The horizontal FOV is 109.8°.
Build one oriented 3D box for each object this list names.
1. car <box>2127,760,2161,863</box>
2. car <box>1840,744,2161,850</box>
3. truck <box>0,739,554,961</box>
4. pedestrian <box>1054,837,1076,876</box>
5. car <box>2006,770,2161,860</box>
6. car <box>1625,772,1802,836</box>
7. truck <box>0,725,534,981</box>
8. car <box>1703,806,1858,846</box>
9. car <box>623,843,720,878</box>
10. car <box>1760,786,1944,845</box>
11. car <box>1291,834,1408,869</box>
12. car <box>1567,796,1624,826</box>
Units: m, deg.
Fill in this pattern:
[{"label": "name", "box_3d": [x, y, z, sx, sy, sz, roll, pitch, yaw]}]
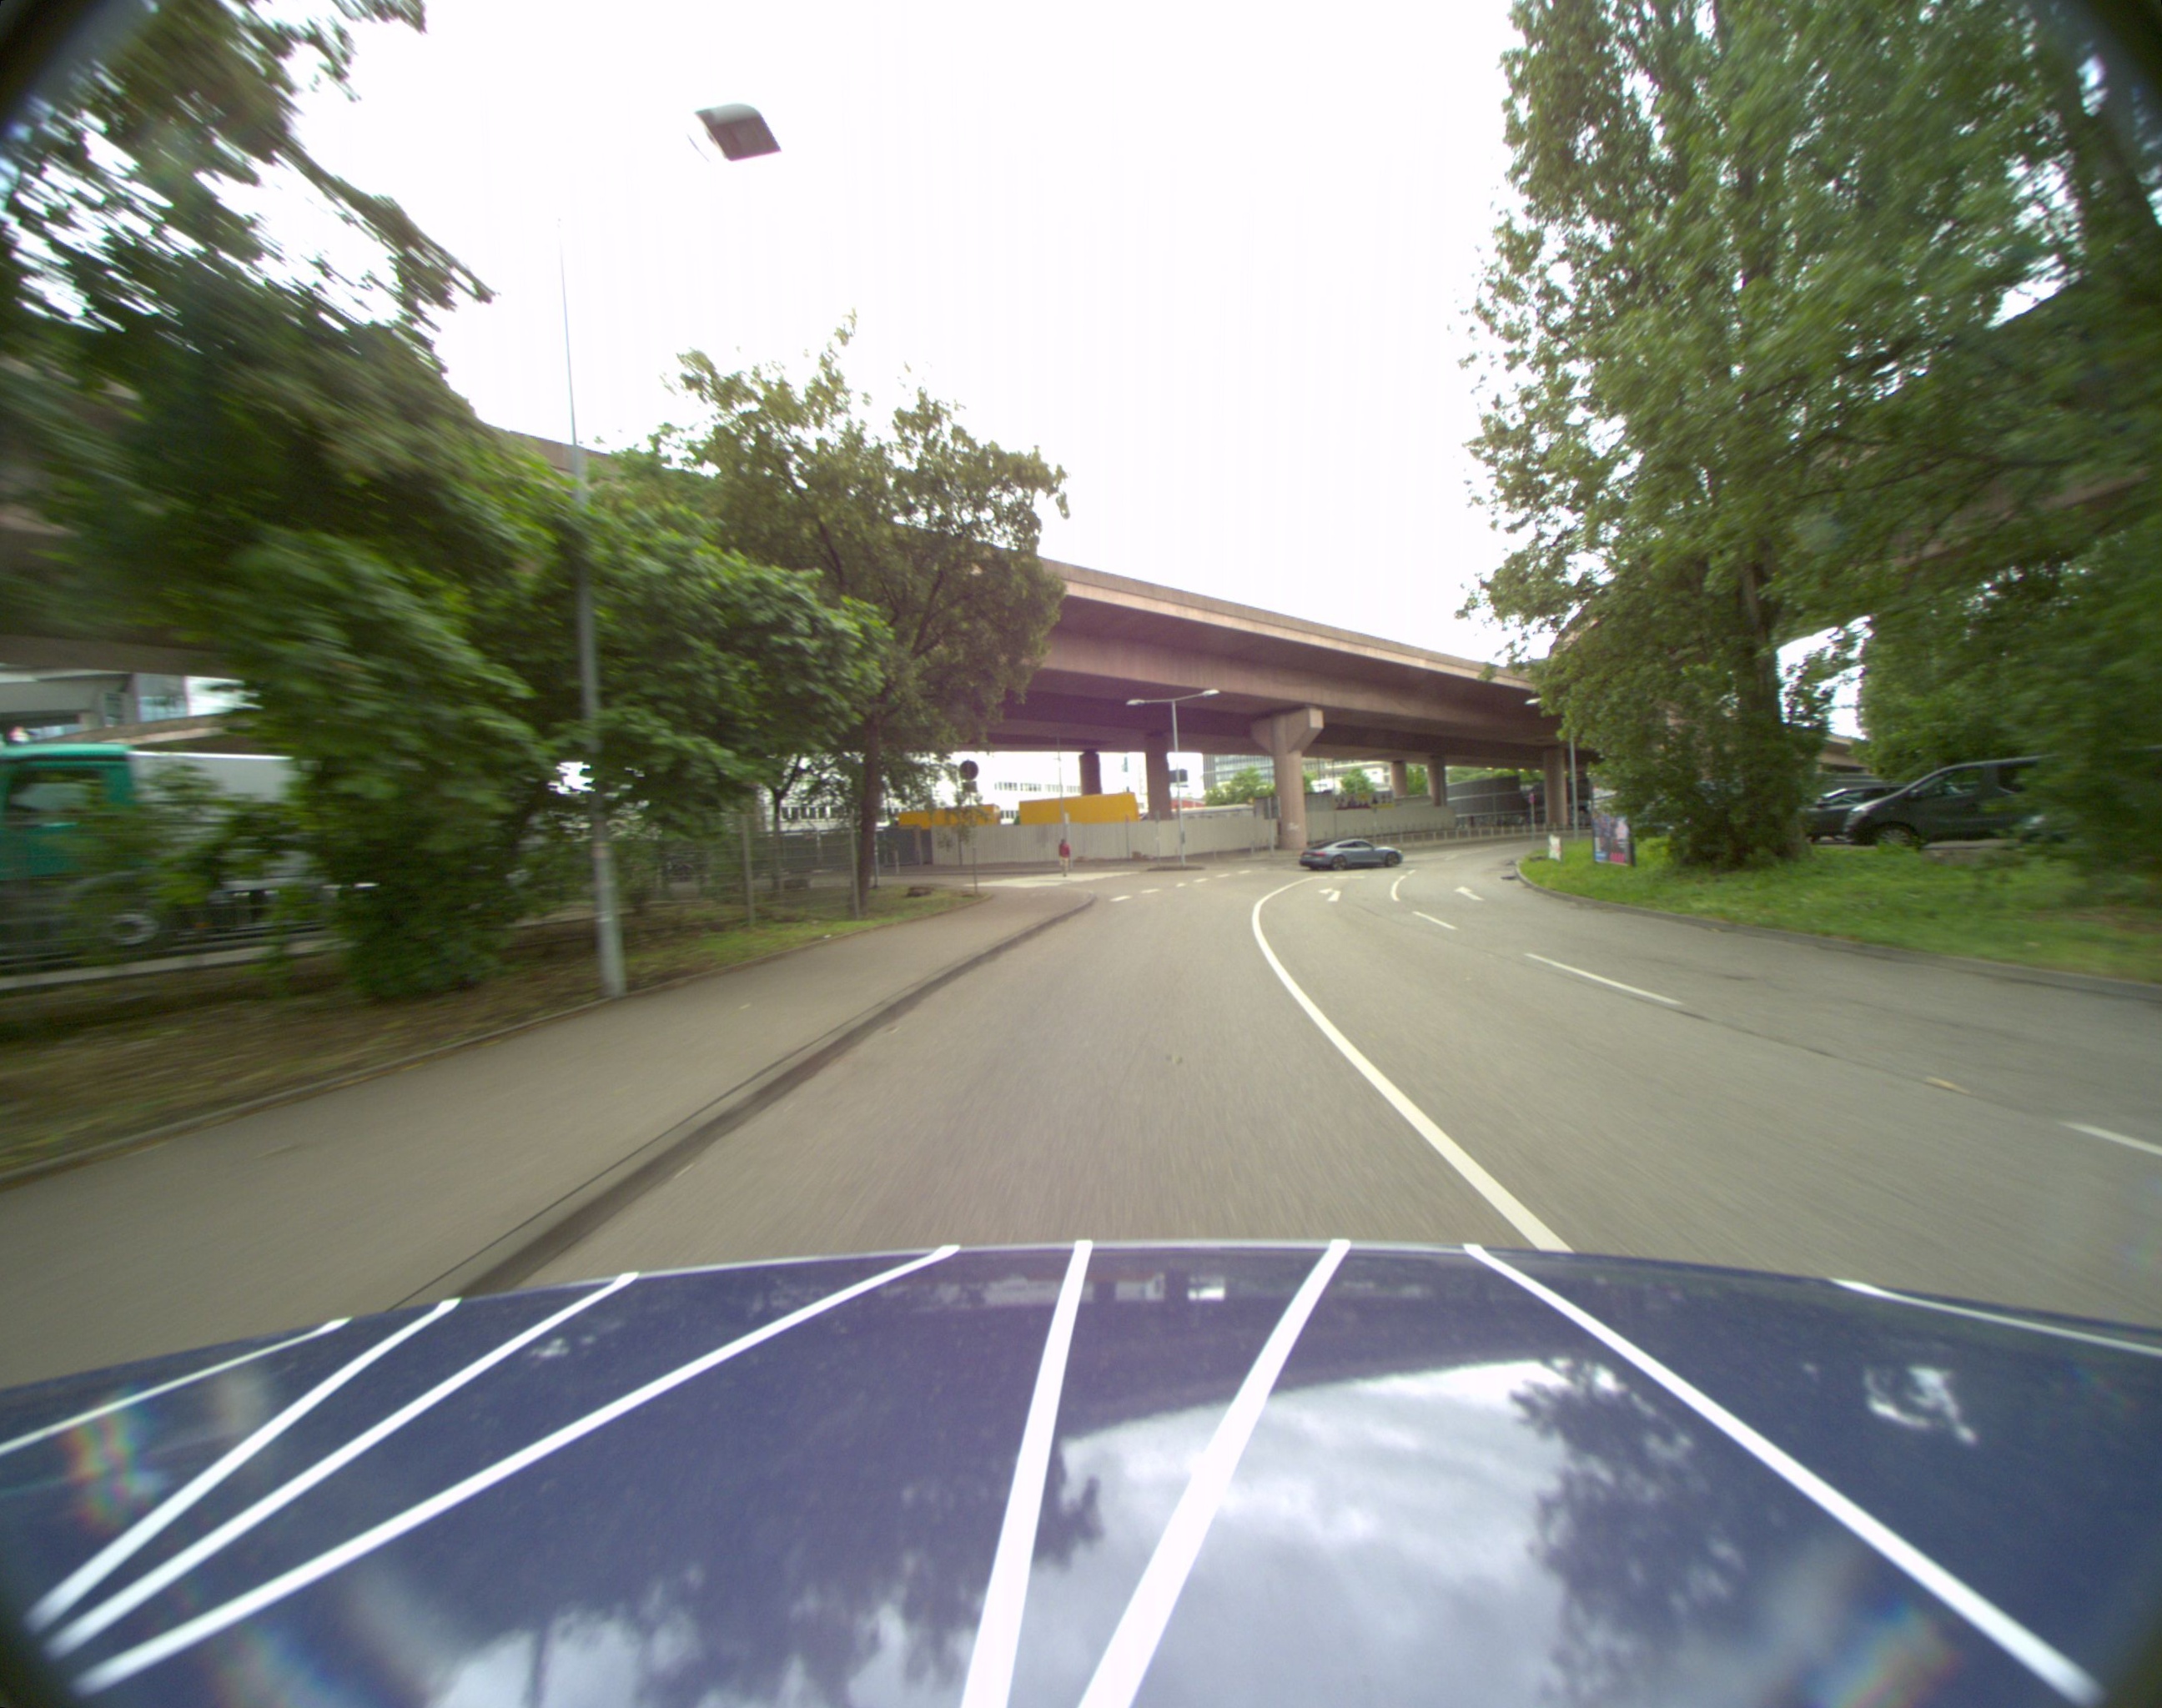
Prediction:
[{"label": "car", "box_3d": [17.640, -0.637, 10.539, 1.699, 1.528, 3.618, -4, 4, -35]}, {"label": "car", "box_3d": [20.068, -1.136, 16.516, 1.859, 2.002, 4.709, -1, 2, -32]}, {"label": "truck", "box_3d": [-16.494, -0.140, 14.571, 2.265, 3.478, 10.233, -1, 2, 33]}, {"label": "pedestrian", "box_3d": [-0.707, 0.113, 33.787, 0.753, 1.671, 0.855, -2, 2, 9]}, {"label": "car", "box_3d": [19.152, -0.676, 13.338, 1.699, 1.528, 3.617, -2, 2, -40]}, {"label": "car", "box_3d": [27.646, -2.103, 33.504, 1.832, 2.566, 5.672, -1, 2, -30]}, {"label": "truck", "box_3d": [-13.614, -0.104, 12.955, 2.264, 3.389, 6.424, -1, 2, 35]}, {"label": "car", "box_3d": [23.075, -0.915, 25.165, 1.359, 1.227, 3.617, -2, 2, -40]}, {"label": "car", "box_3d": [-20.561, 0.295, 38.333, 4.003, 1.625, 1.797, -1, 2, -16]}, {"label": "car", "box_3d": [22.237, -1.067, 22.021, 1.359, 1.556, 3.617, -2, 2, -40]}, {"label": "car", "box_3d": [12.271, -0.147, 34.771, 4.757, 1.352, 1.930, -2, 2, -15]}, {"label": "car", "box_3d": [47.579, -3.928, 70.242, 5.697, 2.571, 2.296, -1, 2, -33]}]
